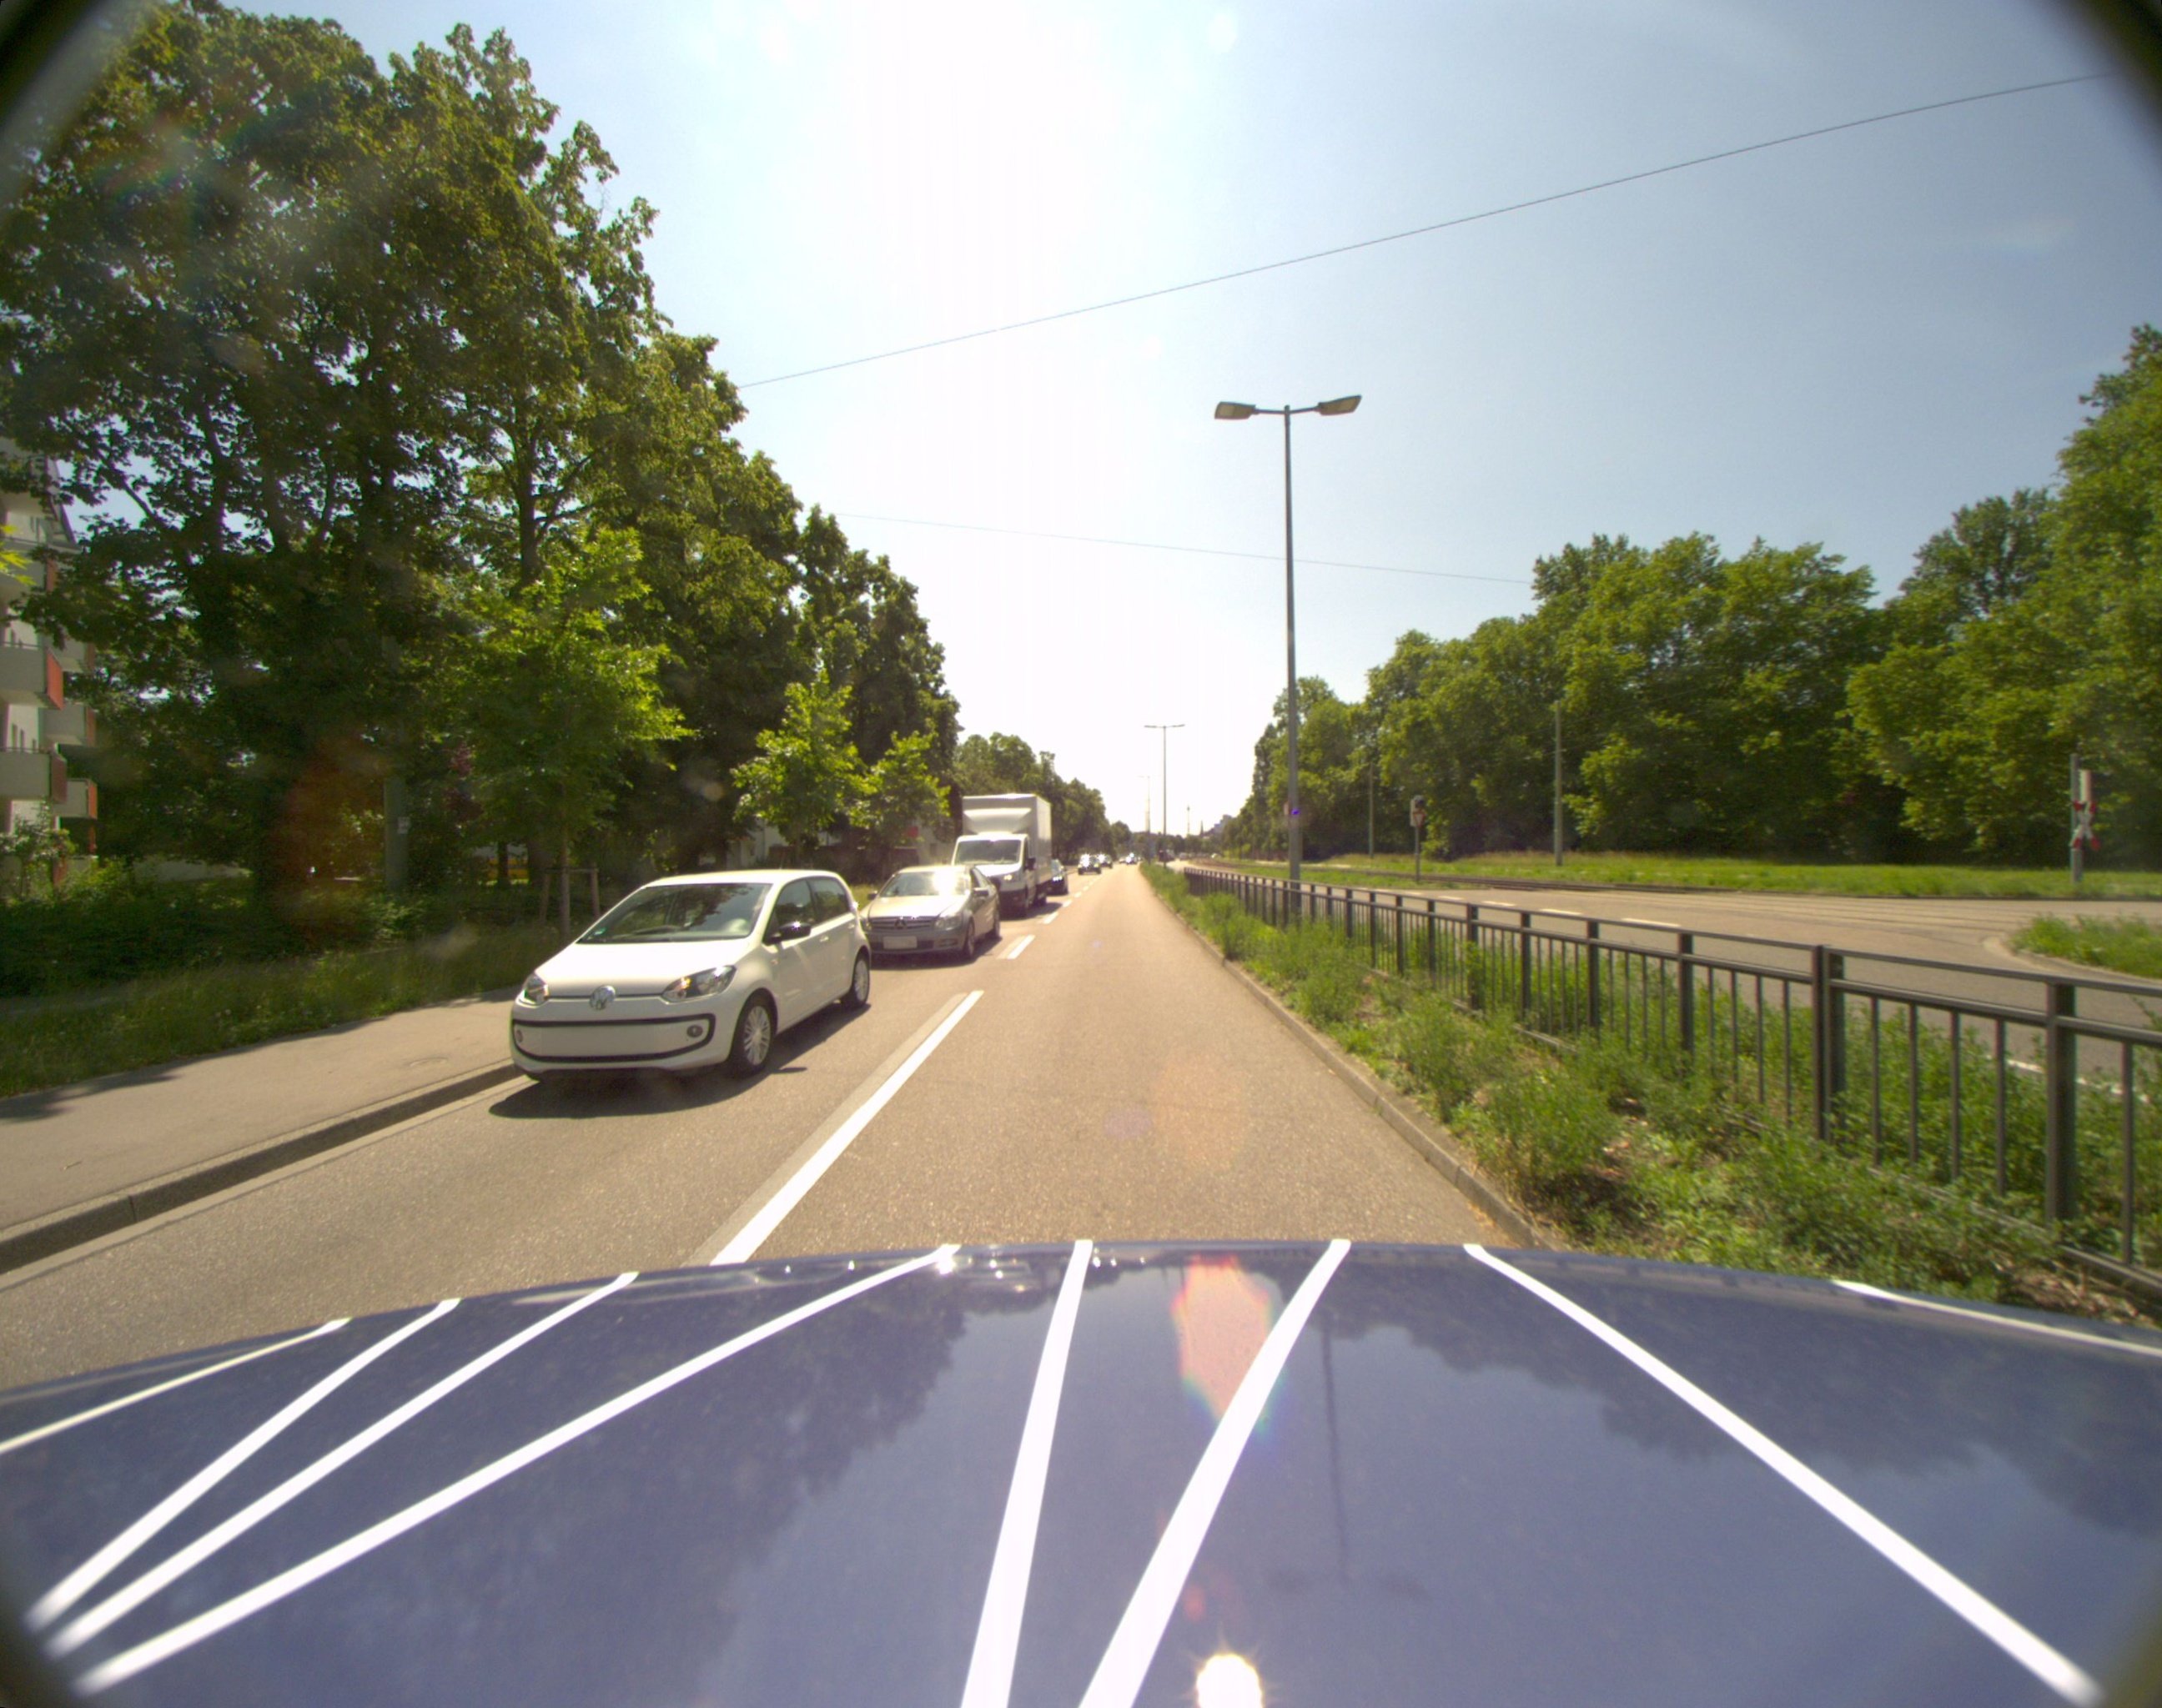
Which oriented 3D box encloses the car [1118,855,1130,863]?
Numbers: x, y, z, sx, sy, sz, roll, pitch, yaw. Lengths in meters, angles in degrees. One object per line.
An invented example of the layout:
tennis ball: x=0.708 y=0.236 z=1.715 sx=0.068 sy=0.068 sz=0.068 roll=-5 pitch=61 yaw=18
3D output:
car: x=8.417 y=0.988 z=148.920 sx=1.951 sy=1.499 sz=4.002 roll=-1 pitch=0 yaw=7

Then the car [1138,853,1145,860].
car: x=16.637 y=0.805 z=208.450 sx=1.998 sy=1.847 sz=4.001 roll=-1 pitch=0 yaw=5

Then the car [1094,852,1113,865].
car: x=2.728 y=0.572 z=92.156 sx=1.997 sy=1.499 sz=4.002 roll=-1 pitch=0 yaw=7

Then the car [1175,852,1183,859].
car: x=26.891 y=0.291 z=208.947 sx=1.998 sy=1.847 sz=4.001 roll=-1 pitch=0 yaw=5

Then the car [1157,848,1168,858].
car: x=16.524 y=-0.244 z=153.968 sx=1.997 sy=1.847 sz=4.002 roll=-1 pitch=0 yaw=7

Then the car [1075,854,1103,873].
car: x=0.729 y=0.815 z=65.815 sx=1.997 sy=1.499 sz=4.002 roll=-1 pitch=0 yaw=7

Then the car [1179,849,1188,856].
car: x=27.122 y=-0.366 z=200.815 sx=1.998 sy=1.847 sz=4.001 roll=-1 pitch=0 yaw=5

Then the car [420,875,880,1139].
car: x=-3.128 y=0.987 z=6.520 sx=1.730 sy=1.470 sz=3.771 roll=-1 pitch=0 yaw=1

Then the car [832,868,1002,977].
car: x=-2.476 y=0.984 z=12.541 sx=1.840 sy=1.400 sz=4.087 roll=-1 pitch=0 yaw=1

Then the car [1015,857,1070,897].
car: x=-1.509 y=0.912 z=31.455 sx=1.998 sy=1.499 sz=4.000 roll=-1 pitch=0 yaw=1

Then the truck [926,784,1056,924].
truck: x=-2.301 y=-0.010 z=22.280 sx=2.433 sy=3.326 sz=7.923 roll=-1 pitch=0 yaw=3

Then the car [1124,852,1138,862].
car: x=8.333 y=0.525 z=125.943 sx=1.997 sy=1.499 sz=4.002 roll=-1 pitch=0 yaw=7
